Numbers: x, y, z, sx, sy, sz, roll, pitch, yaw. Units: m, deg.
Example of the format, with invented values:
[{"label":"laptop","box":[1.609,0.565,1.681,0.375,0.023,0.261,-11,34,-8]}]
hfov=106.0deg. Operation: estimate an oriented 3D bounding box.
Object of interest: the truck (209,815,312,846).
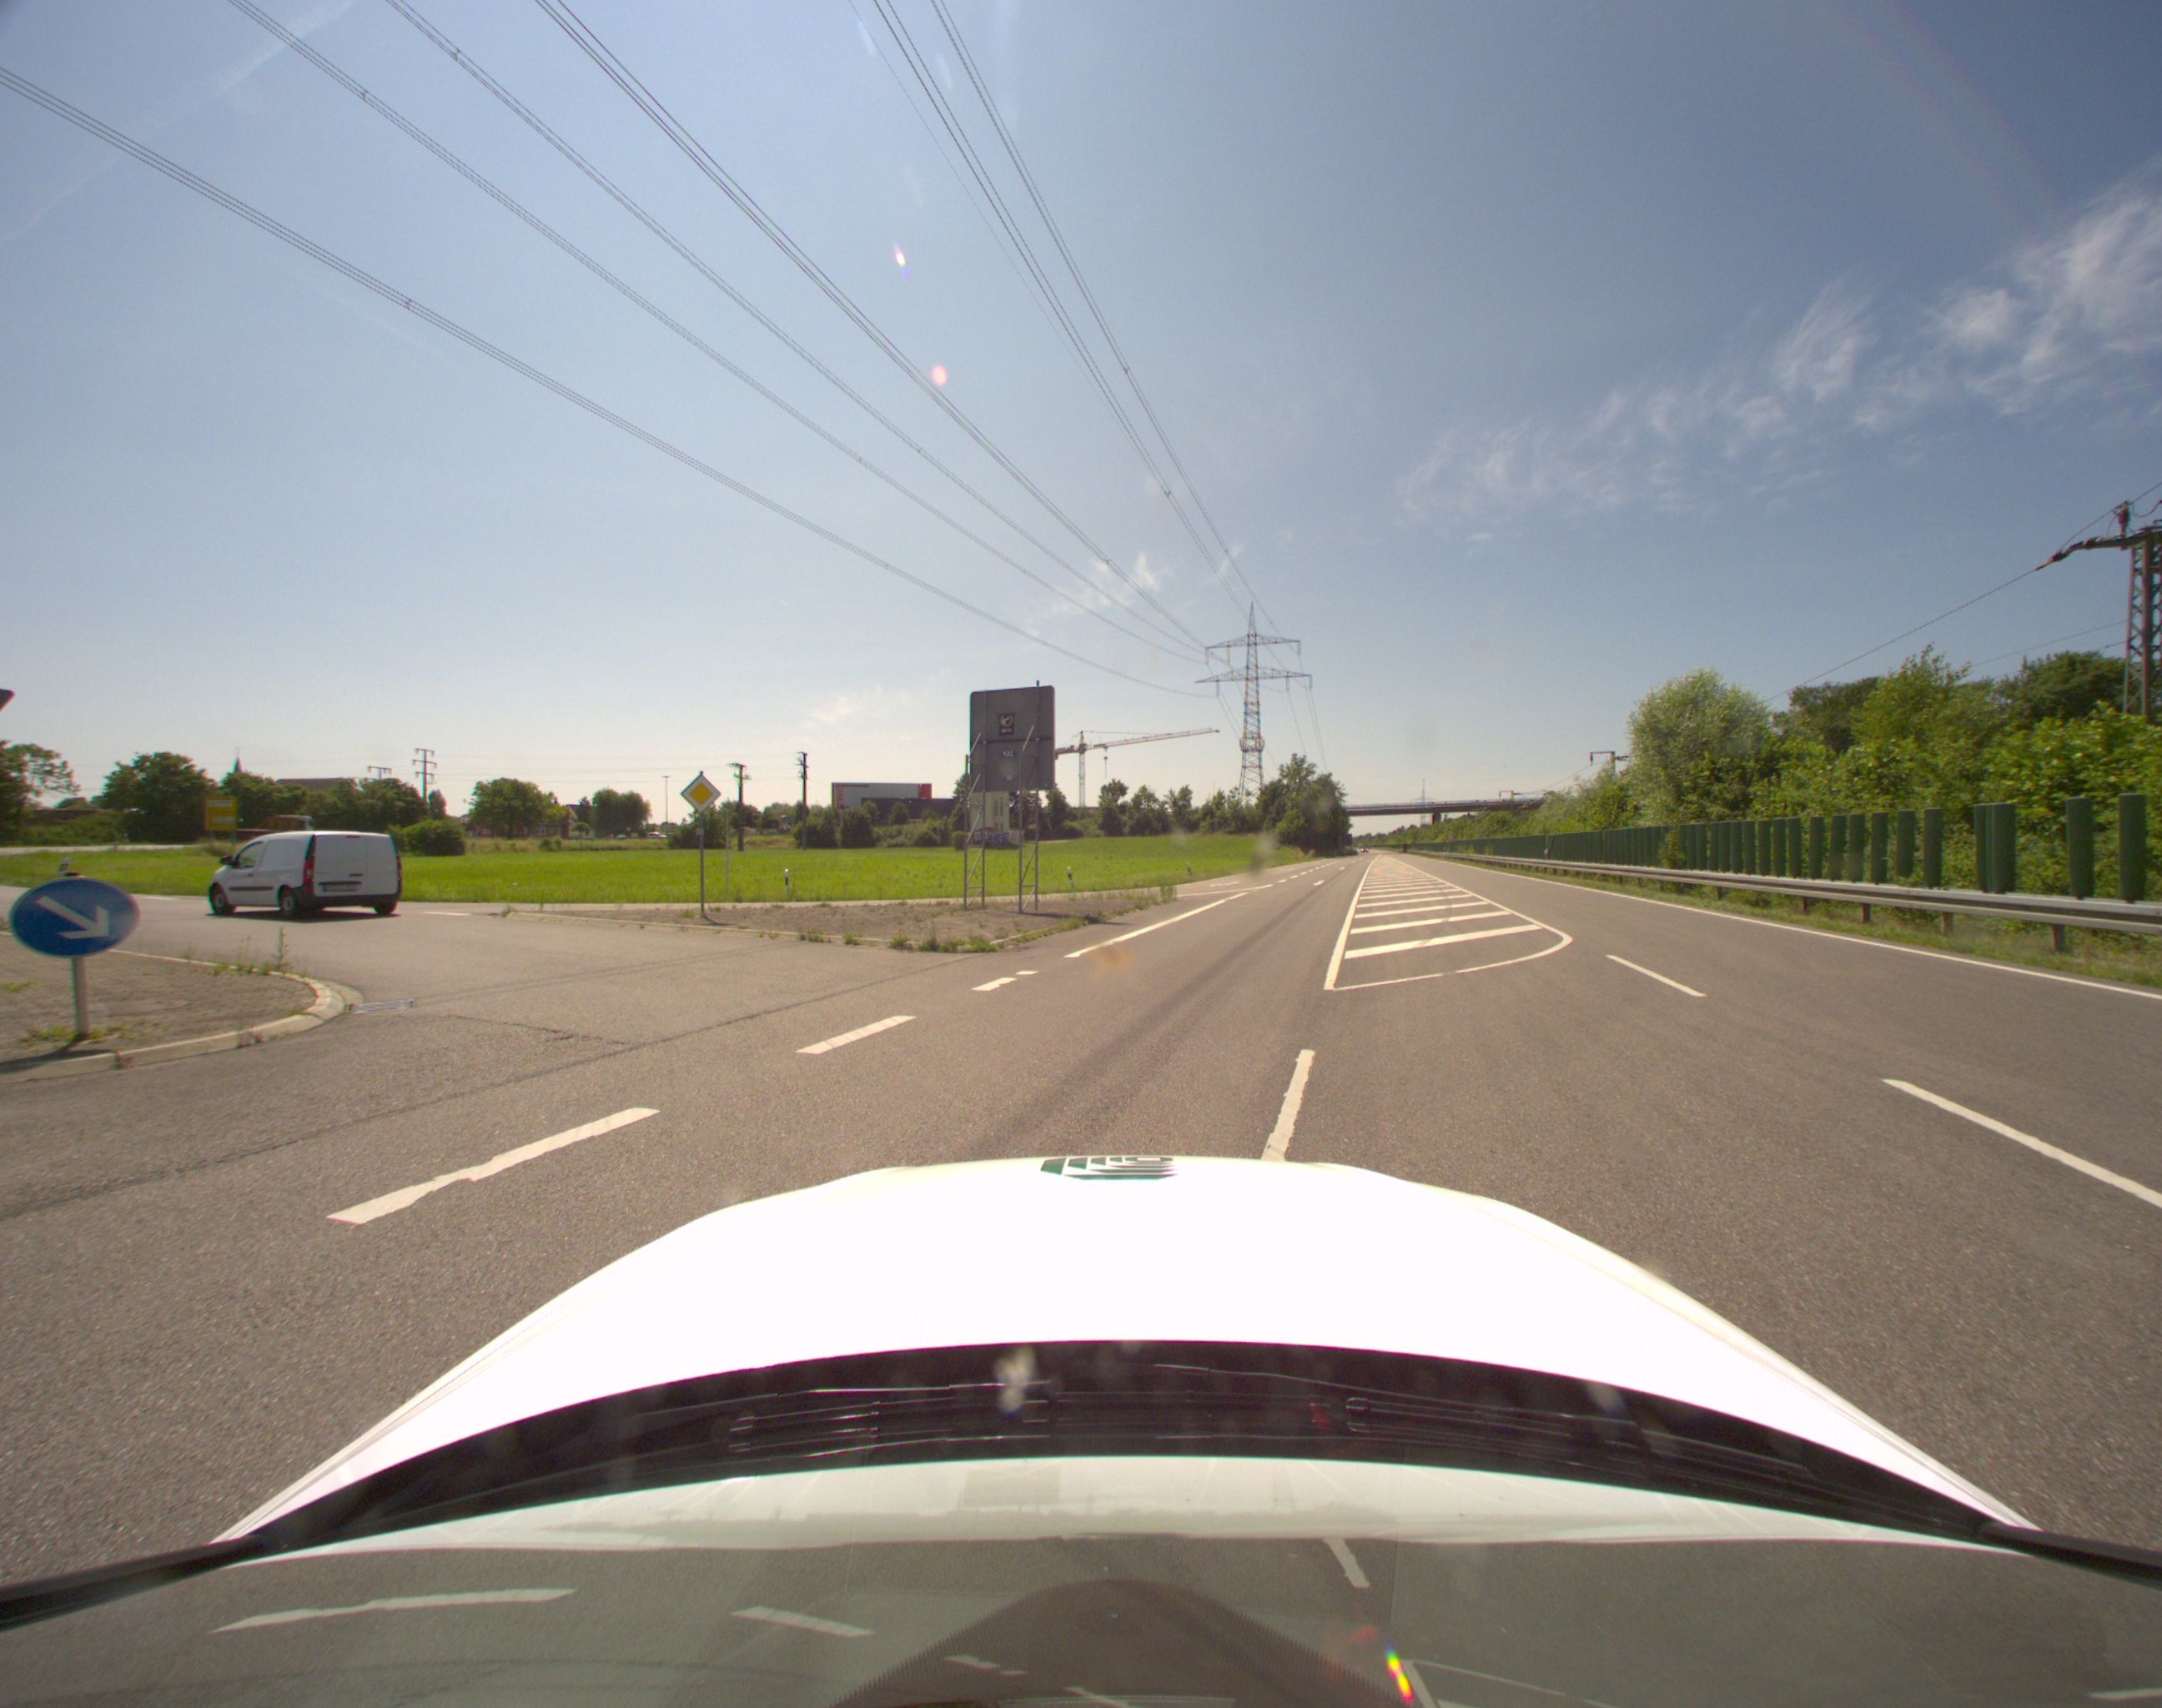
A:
[{"label":"truck","box":[-80.972,-2.269,80.689,3.389,2.667,9.144,-1,0,-19]}]

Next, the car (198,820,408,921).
[{"label":"car","box":[-16.718,0.340,17.513,3.951,1.971,1.843,-1,-1,23]}]

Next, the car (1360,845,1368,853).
[{"label":"car","box":[71.910,-1.386,206.710,1.977,2.013,4.019,0,0,19]}]
